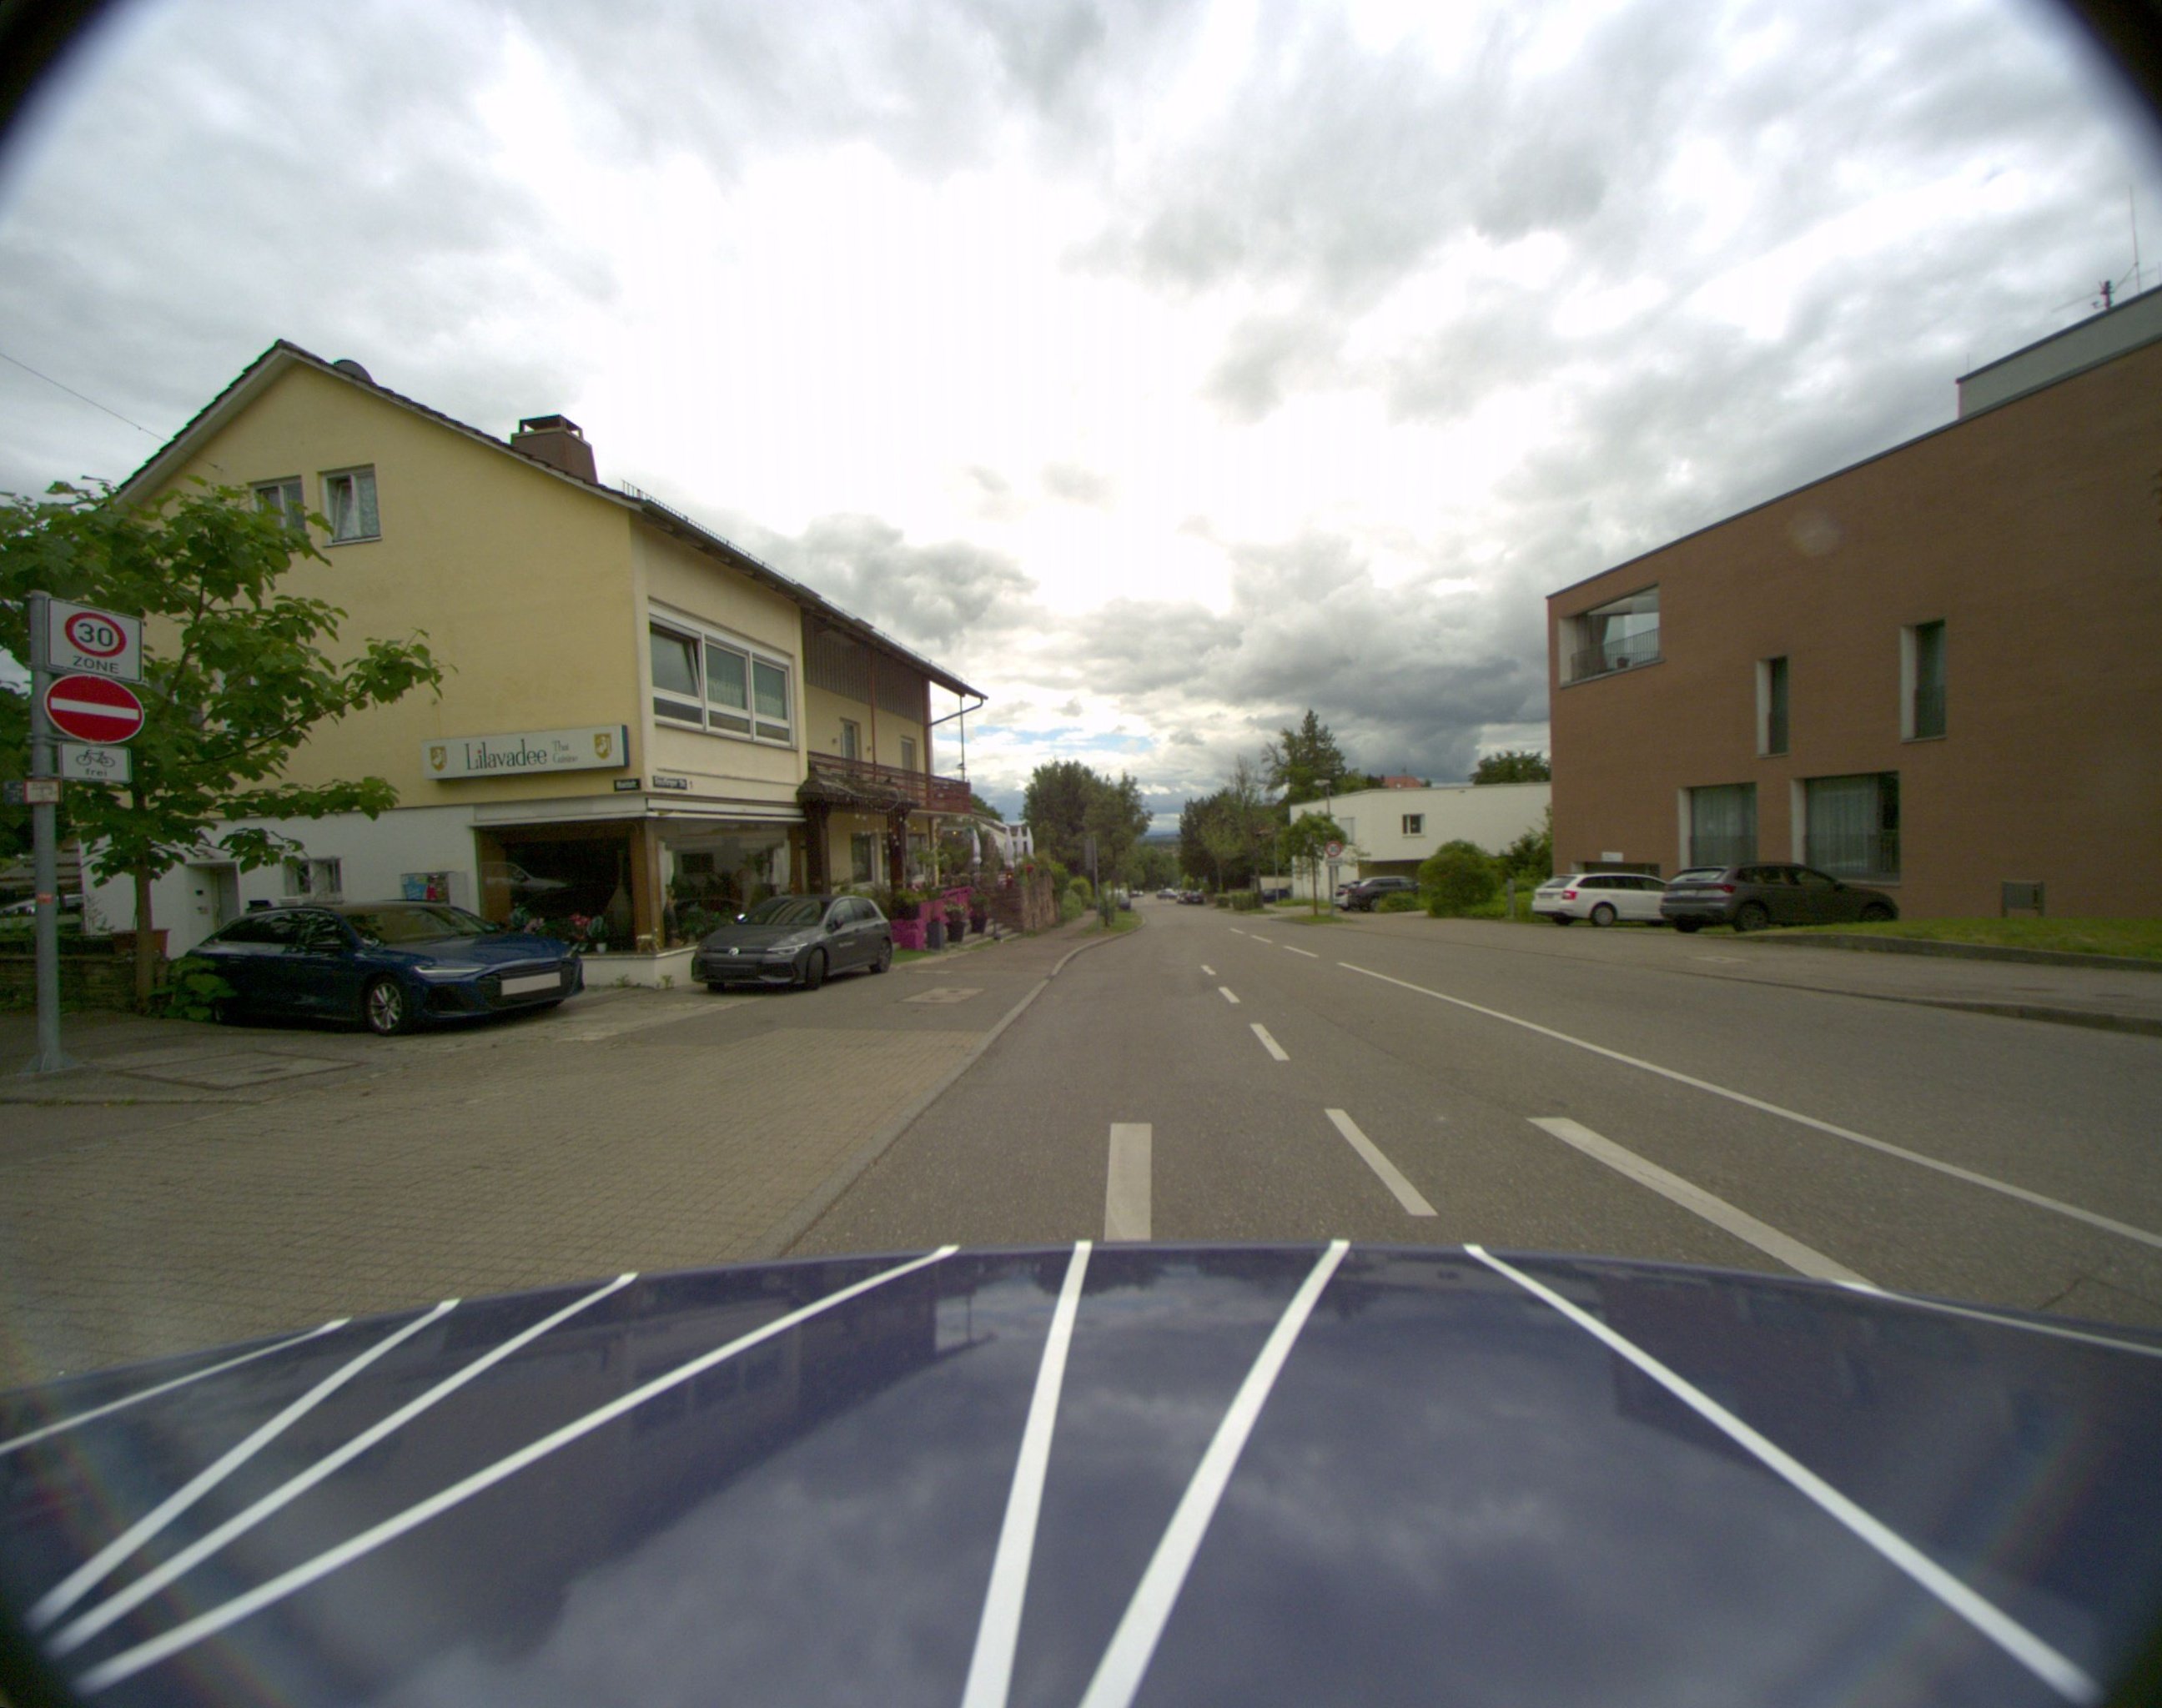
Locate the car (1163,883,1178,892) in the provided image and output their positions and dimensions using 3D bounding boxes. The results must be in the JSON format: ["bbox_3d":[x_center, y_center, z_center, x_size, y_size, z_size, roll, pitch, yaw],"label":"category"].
[{"bbox_3d":[16.214,6.057,137.966,1.884,1.412,4.368,-1,-1,-2],"label":"car"}]

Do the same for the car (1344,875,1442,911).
[{"bbox_3d":[15.060,1.889,36.870,3.996,1.585,1.795,-2,-3,3],"label":"car"}]

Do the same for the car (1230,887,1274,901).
[{"bbox_3d":[16.553,3.876,73.722,3.995,1.278,1.665,-2,-3,7],"label":"car"}]

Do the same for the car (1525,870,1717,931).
[{"bbox_3d":[14.621,1.259,20.705,3.998,1.476,1.727,-1,-3,-3],"label":"car"}]

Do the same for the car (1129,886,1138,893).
[{"bbox_3d":[12.646,8.561,183.332,1.883,1.412,4.369,-1,-1,1],"label":"car"}]

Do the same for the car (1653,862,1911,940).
[{"bbox_3d":[14.920,0.988,16.314,3.998,1.476,1.727,-1,-3,-3],"label":"car"}]

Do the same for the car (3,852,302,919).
[{"bbox_3d":[-22.825,0.831,18.951,1.795,1.452,4.336,-2,-4,22],"label":"car"}]

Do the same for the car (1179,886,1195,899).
[{"bbox_3d":[12.504,4.546,89.569,1.661,1.412,4.372,-2,-3,6],"label":"car"}]

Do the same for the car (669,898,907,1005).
[{"bbox_3d":[-4.539,1.475,12.620,1.796,1.452,4.332,-1,-4,8],"label":"car"}]

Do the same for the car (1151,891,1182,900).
[{"bbox_3d":[13.273,6.434,118.093,4.356,1.412,1.889,-2,-1,43],"label":"car"}]

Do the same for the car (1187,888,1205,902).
[{"bbox_3d":[12.187,4.291,80.572,1.661,1.412,4.004,-2,-3,6],"label":"car"}]

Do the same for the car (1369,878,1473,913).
[{"bbox_3d":[15.606,1.891,35.029,3.996,1.476,1.728,-2,-3,3],"label":"car"}]

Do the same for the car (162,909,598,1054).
[{"bbox_3d":[-8.525,1.415,9.282,4.739,1.378,1.802,-2,-1,18],"label":"car"}]
